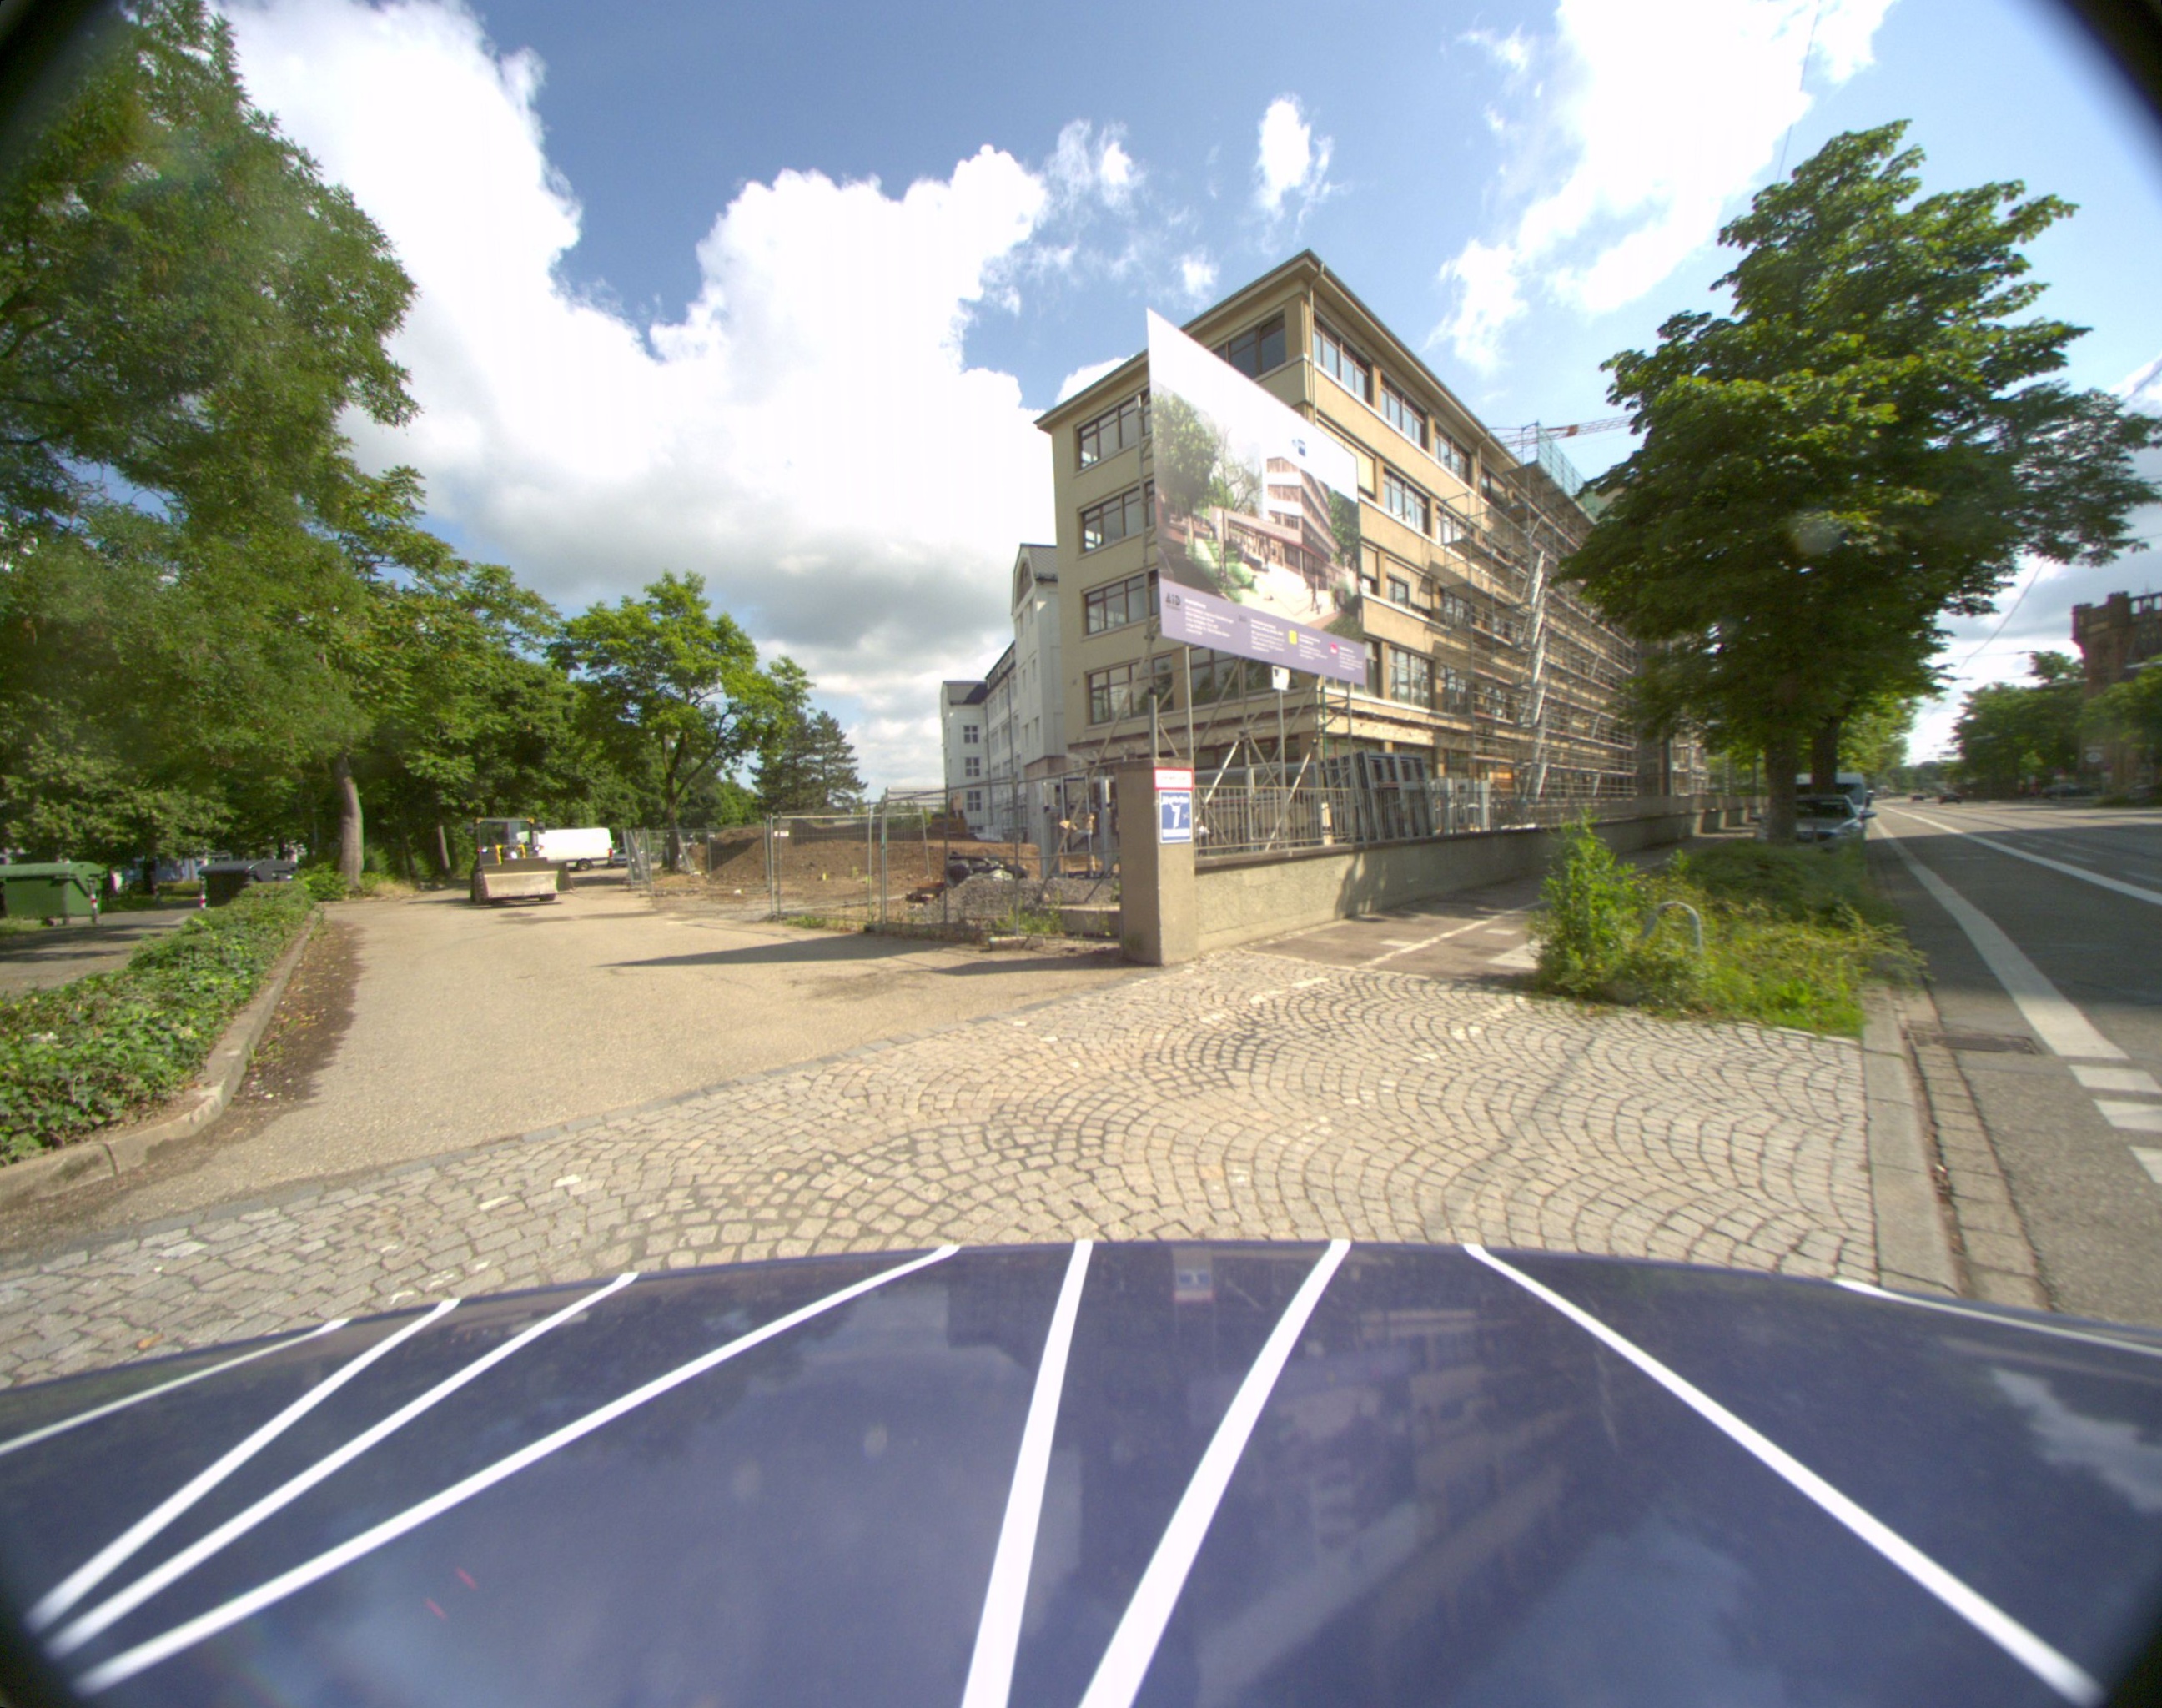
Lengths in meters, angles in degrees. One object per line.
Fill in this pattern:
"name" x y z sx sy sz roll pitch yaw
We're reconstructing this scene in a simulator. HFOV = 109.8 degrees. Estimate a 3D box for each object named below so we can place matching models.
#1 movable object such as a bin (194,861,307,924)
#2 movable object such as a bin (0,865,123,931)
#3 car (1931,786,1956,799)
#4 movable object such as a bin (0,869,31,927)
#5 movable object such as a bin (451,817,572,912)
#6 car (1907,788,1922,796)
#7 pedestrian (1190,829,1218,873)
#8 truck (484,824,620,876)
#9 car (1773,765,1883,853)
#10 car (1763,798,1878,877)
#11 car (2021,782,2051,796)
"movable object such as a bin" -19.452 0.875 17.842 1.323 1.350 1.130 -1 3 2
"movable object such as a bin" -23.195 0.962 17.242 1.368 1.345 1.092 -2 3 -20
"car" 116.385 -8.251 102.531 1.888 1.635 4.243 -1 3 44
"movable object such as a bin" -24.531 1.012 16.718 1.257 1.259 0.998 -2 3 -20
"movable object such as a bin" -16.599 0.197 22.021 2.004 2.430 5.416 -2 3 -45
"car" 175.480 -13.040 159.945 1.888 1.635 4.243 -1 3 44
"pedestrian" 3.823 -0.091 23.650 0.463 1.306 0.634 -8 3 -31
"truck" -32.151 -0.346 46.511 6.567 2.764 1.994 -3 6 -31
"car" 25.305 -1.528 25.781 2.333 2.545 5.399 -4 1 45
"car" 17.869 -0.445 18.376 1.747 1.597 4.243 -4 1 45
"car" 110.376 -7.500 87.844 3.958 1.566 1.624 -5 6 -44
